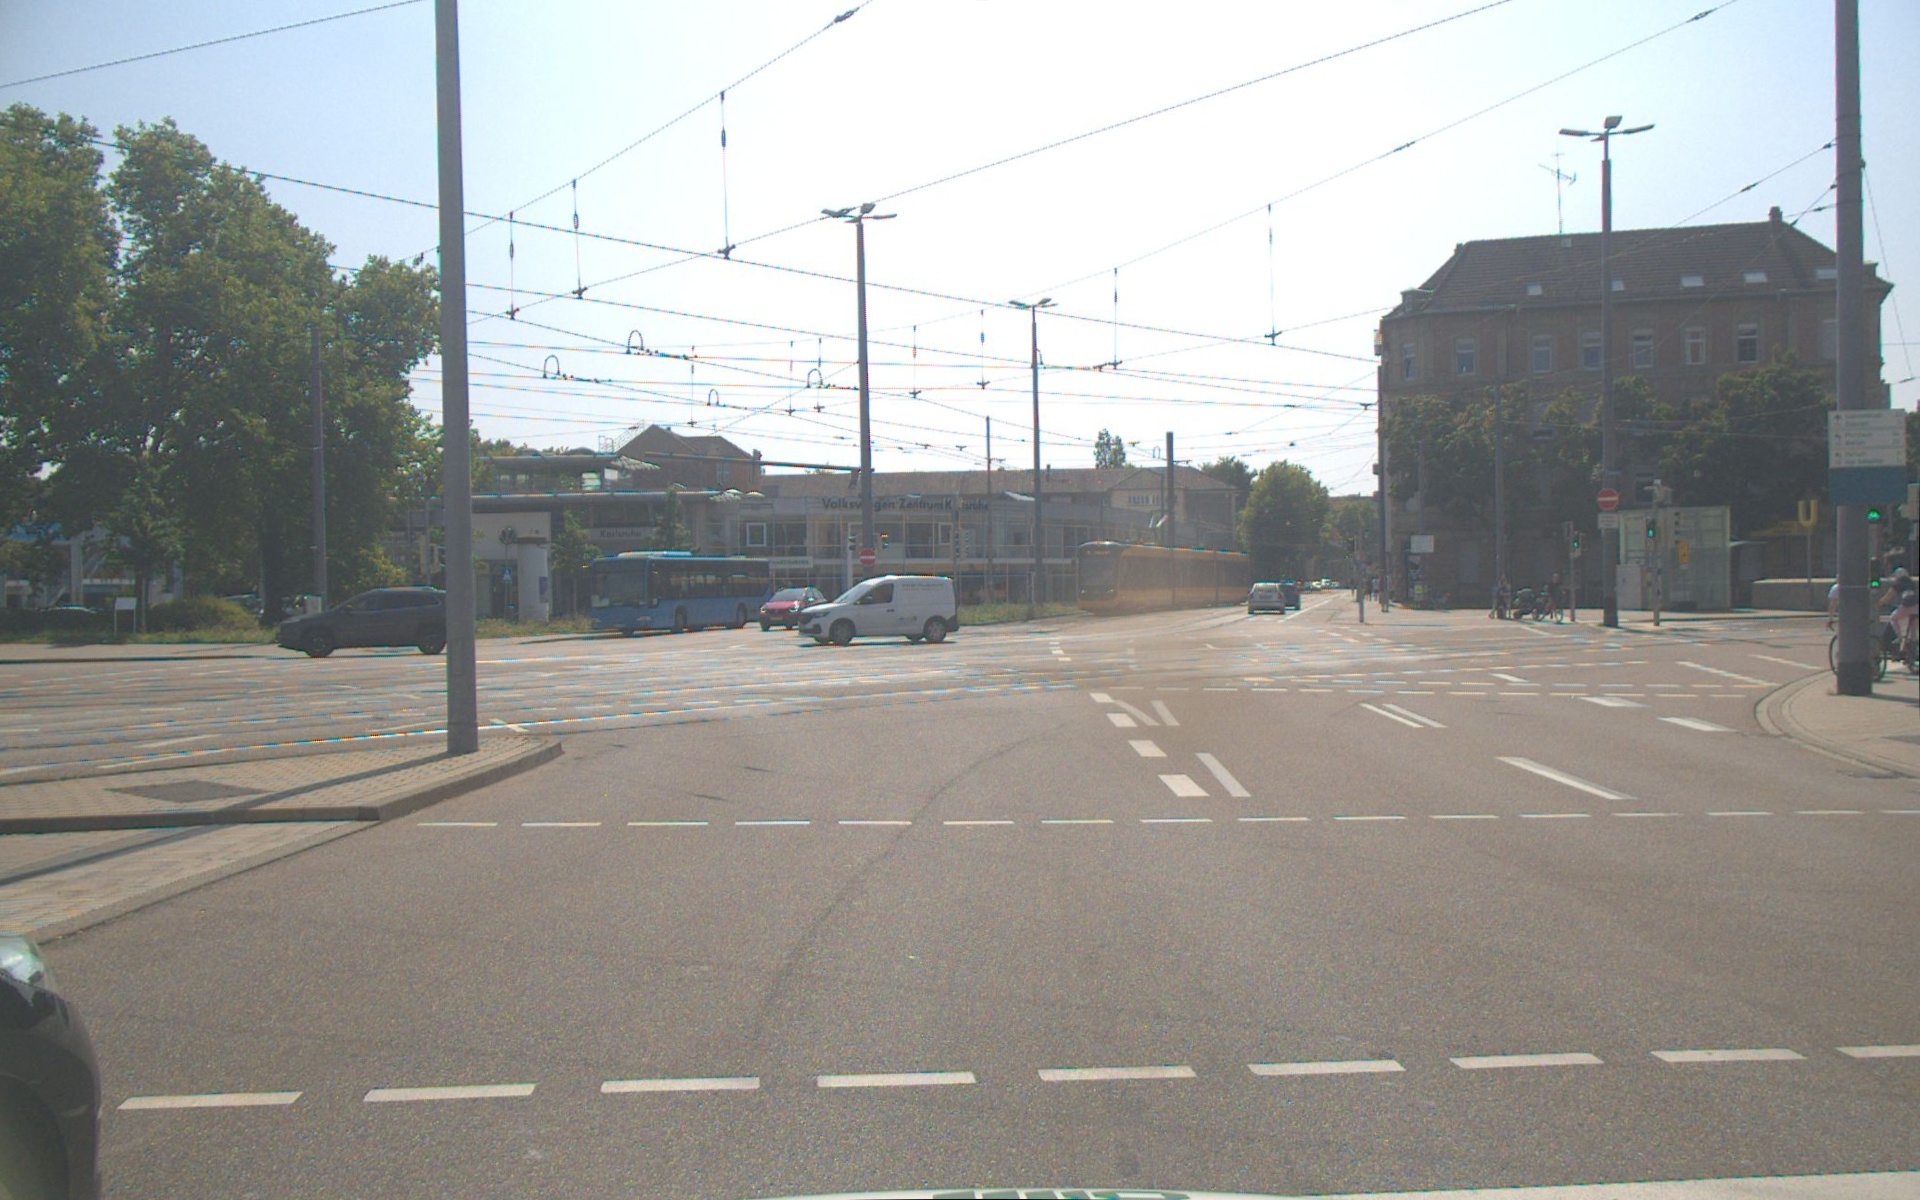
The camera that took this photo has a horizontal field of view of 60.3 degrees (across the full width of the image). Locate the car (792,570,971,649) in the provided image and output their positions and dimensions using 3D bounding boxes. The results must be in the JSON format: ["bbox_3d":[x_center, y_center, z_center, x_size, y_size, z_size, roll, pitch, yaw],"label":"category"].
[{"bbox_3d":[-2.165,0.243,45.742,4.548,2.049,1.986,-1,0,-23],"label":"car"}]

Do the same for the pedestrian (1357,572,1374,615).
[{"bbox_3d":[29.584,-0.472,120.658,0.963,3.070,0.975,-1,0,2],"label":"pedestrian"}]

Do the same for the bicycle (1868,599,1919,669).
[{"bbox_3d":[15.138,0.530,26.531,0.525,1.073,1.655,-1,0,12],"label":"bicycle"}]

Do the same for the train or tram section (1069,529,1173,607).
[{"bbox_3d":[8.127,-1.523,81.949,2.534,3.578,10.902,-1,0,20],"label":"train or tram section"}]

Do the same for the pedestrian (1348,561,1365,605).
[{"bbox_3d":[28.145,-1.184,117.351,0.963,3.070,0.975,-1,0,5],"label":"pedestrian"}]

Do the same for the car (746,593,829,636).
[{"bbox_3d":[-6.557,0.531,63.238,1.713,1.579,4.002,-1,0,17],"label":"car"}]

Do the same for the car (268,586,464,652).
[{"bbox_3d":[-15.008,0.457,41.885,4.545,1.531,1.987,-1,0,-21],"label":"car"}]

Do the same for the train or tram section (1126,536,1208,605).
[{"bbox_3d":[11.566,-1.580,91.642,2.534,3.578,9.662,-1,0,19],"label":"train or tram section"}]

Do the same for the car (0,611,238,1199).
[{"bbox_3d":[-2.490,0.735,1.614,1.728,1.412,3.783,1,0,3],"label":"car"}]

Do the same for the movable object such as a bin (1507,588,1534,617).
[{"bbox_3d":[21.149,0.086,62.416,0.798,1.096,0.510,-1,0,-11],"label":"movable object such as a bin"}]

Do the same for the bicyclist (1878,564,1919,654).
[{"bbox_3d":[15.074,0.138,26.351,0.519,1.417,0.894,-1,0,12],"label":"bicyclist"}]

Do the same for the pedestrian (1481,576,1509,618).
[{"bbox_3d":[20.313,-0.105,62.813,0.834,1.572,0.528,-1,0,-9],"label":"pedestrian"}]

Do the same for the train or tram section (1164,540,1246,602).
[{"bbox_3d":[15.275,-1.735,102.288,2.534,3.578,12.976,-1,0,19],"label":"train or tram section"}]

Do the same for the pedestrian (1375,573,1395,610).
[{"bbox_3d":[18.886,-0.381,73.503,0.686,1.631,0.572,-1,0,-8],"label":"pedestrian"}]

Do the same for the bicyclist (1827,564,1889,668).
[{"bbox_3d":[13.540,0.238,24.948,0.614,1.544,0.712,-1,0,12],"label":"bicyclist"}]

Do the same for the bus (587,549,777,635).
[{"bbox_3d":[-10.864,-0.337,66.460,2.508,3.136,12.031,-1,0,16],"label":"bus"}]

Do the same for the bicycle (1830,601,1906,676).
[{"bbox_3d":[13.575,0.557,24.764,0.525,1.073,1.655,-1,0,12],"label":"bicycle"}]

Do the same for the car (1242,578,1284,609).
[{"bbox_3d":[14.652,-0.342,79.853,1.732,1.440,4.192,-1,0,14],"label":"car"}]

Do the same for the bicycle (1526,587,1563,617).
[{"bbox_3d":[21.375,0.071,60.529,0.461,1.073,1.648,-1,0,-13],"label":"bicycle"}]

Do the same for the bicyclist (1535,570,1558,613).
[{"bbox_3d":[21.419,-0.295,60.388,0.601,1.555,0.519,-1,0,-15],"label":"bicyclist"}]

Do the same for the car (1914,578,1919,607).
[{"bbox_3d":[38.924,-0.331,63.626,3.935,1.109,1.985,-1,0,-24],"label":"car"}]

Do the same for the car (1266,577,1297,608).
[{"bbox_3d":[17.635,-0.419,90.610,1.601,1.646,4.004,-1,0,11],"label":"car"}]
